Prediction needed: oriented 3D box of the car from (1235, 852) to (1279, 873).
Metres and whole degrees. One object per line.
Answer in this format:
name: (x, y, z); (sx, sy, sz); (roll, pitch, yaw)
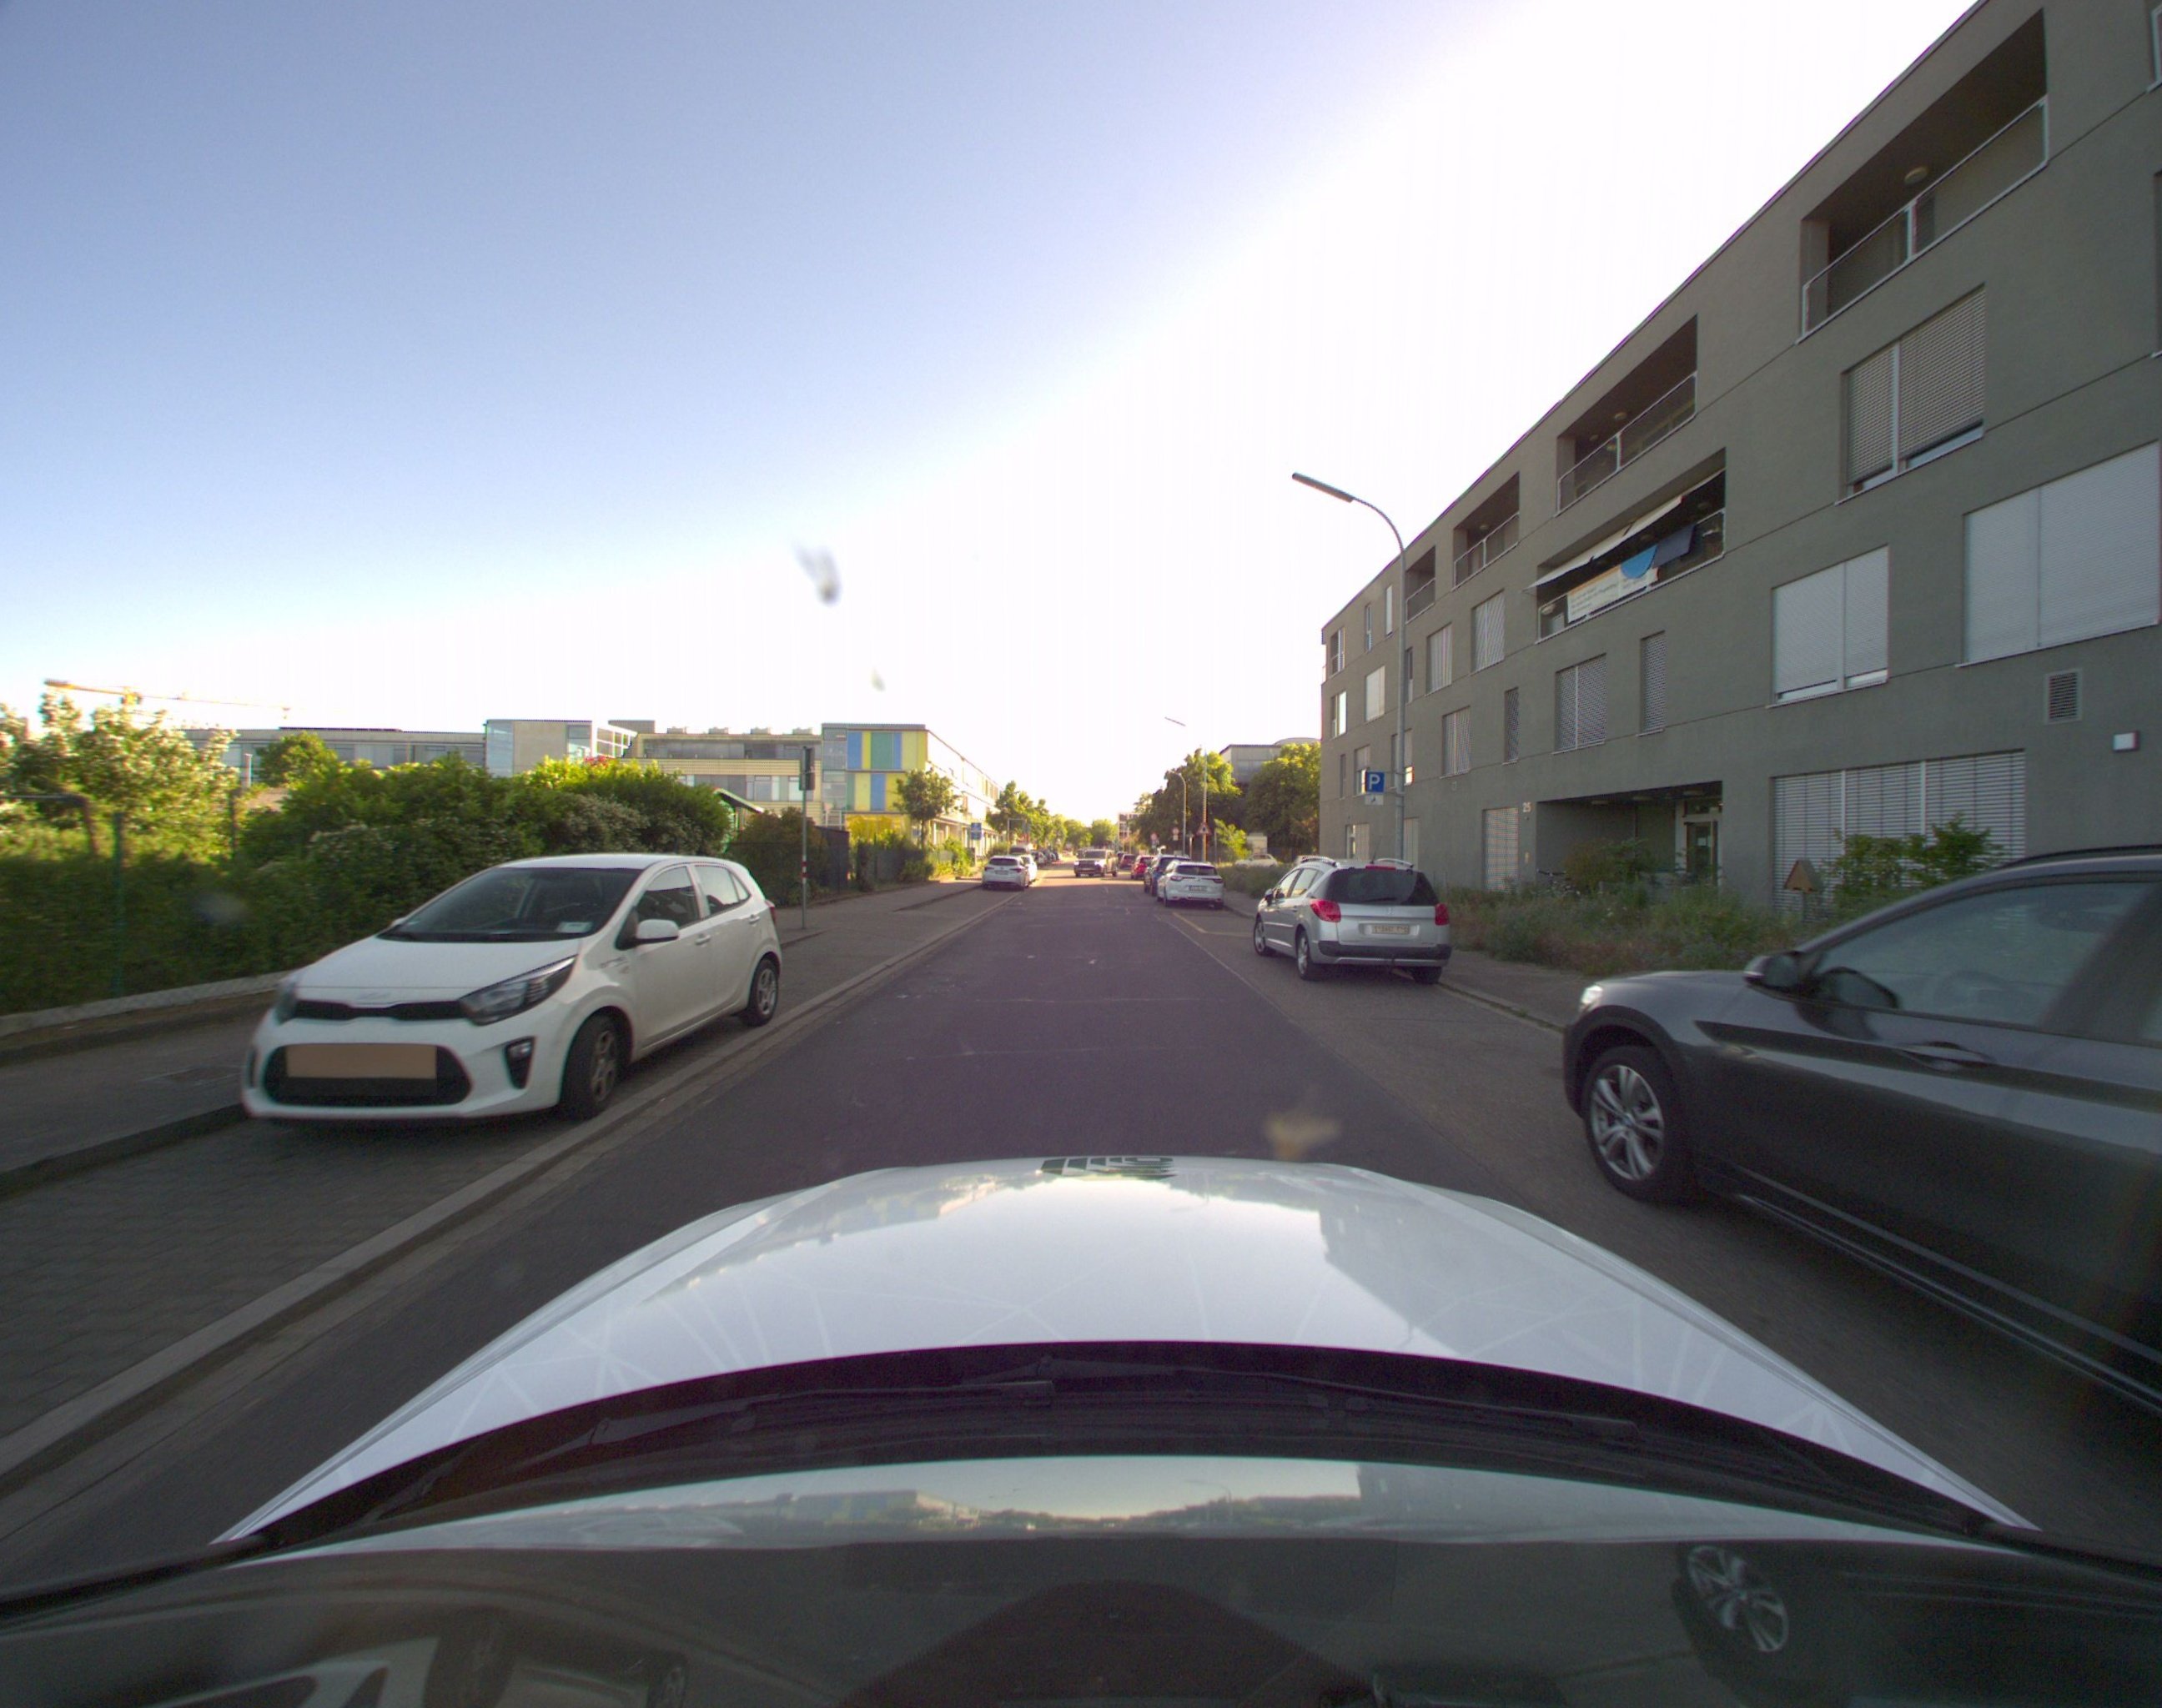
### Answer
car: (14.035, 0.661, 64.986); (3.202, 1.549, 1.451); (2, 0, 3)

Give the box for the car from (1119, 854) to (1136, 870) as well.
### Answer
car: (4.624, 0.792, 80.799); (1.440, 1.549, 3.613); (2, 0, 0)

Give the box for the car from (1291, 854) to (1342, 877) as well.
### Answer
car: (16.423, 0.783, 56.892); (3.202, 1.460, 1.451); (2, 0, 3)

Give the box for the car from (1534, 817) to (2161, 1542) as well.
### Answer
car: (3.321, 0.761, 2.330); (1.736, 1.625, 4.179); (2, 0, 1)

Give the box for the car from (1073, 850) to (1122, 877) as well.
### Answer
car: (1.078, 0.596, 51.602); (1.829, 1.546, 4.213); (2, 0, 19)

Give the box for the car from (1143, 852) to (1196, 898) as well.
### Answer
car: (3.421, 0.780, 32.172); (1.627, 1.630, 3.613); (2, 0, -1)

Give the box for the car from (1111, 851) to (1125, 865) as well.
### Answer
car: (4.394, 0.498, 96.803); (1.440, 1.549, 3.613); (2, 0, 0)

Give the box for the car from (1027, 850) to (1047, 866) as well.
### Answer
car: (-4.611, 0.381, 86.293); (1.848, 1.563, 4.134); (2, 0, 0)

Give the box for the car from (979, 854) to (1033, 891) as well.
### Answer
car: (-3.159, 0.735, 35.014); (1.848, 1.428, 4.134); (2, 0, 0)

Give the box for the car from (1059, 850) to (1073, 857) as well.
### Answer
car: (-3.858, -0.182, 209.632); (3.596, 1.549, 1.447); (2, 0, -5)

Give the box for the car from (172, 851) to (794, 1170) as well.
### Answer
car: (-3.466, 0.738, 5.708); (1.554, 1.495, 3.758); (0, 0, 0)

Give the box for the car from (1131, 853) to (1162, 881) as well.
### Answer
car: (3.869, 0.759, 48.584); (1.440, 1.549, 3.613); (2, 0, 0)

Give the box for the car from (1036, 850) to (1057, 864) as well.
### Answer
car: (-3.932, 0.338, 94.572); (1.845, 1.563, 4.140); (2, 0, 5)

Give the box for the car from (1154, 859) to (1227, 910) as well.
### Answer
car: (3.427, 0.919, 26.162); (1.736, 1.428, 4.134); (2, 0, 0)

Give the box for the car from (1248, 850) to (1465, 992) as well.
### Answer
car: (3.543, 0.764, 11.220); (1.652, 1.551, 3.850); (2, 0, 0)

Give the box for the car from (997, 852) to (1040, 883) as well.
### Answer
car: (-3.144, 0.669, 41.756); (1.848, 1.428, 4.134); (2, 0, 0)

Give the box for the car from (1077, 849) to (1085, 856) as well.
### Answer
car: (-0.039, -0.270, 192.485); (1.659, 1.549, 3.901); (2, 0, -1)
